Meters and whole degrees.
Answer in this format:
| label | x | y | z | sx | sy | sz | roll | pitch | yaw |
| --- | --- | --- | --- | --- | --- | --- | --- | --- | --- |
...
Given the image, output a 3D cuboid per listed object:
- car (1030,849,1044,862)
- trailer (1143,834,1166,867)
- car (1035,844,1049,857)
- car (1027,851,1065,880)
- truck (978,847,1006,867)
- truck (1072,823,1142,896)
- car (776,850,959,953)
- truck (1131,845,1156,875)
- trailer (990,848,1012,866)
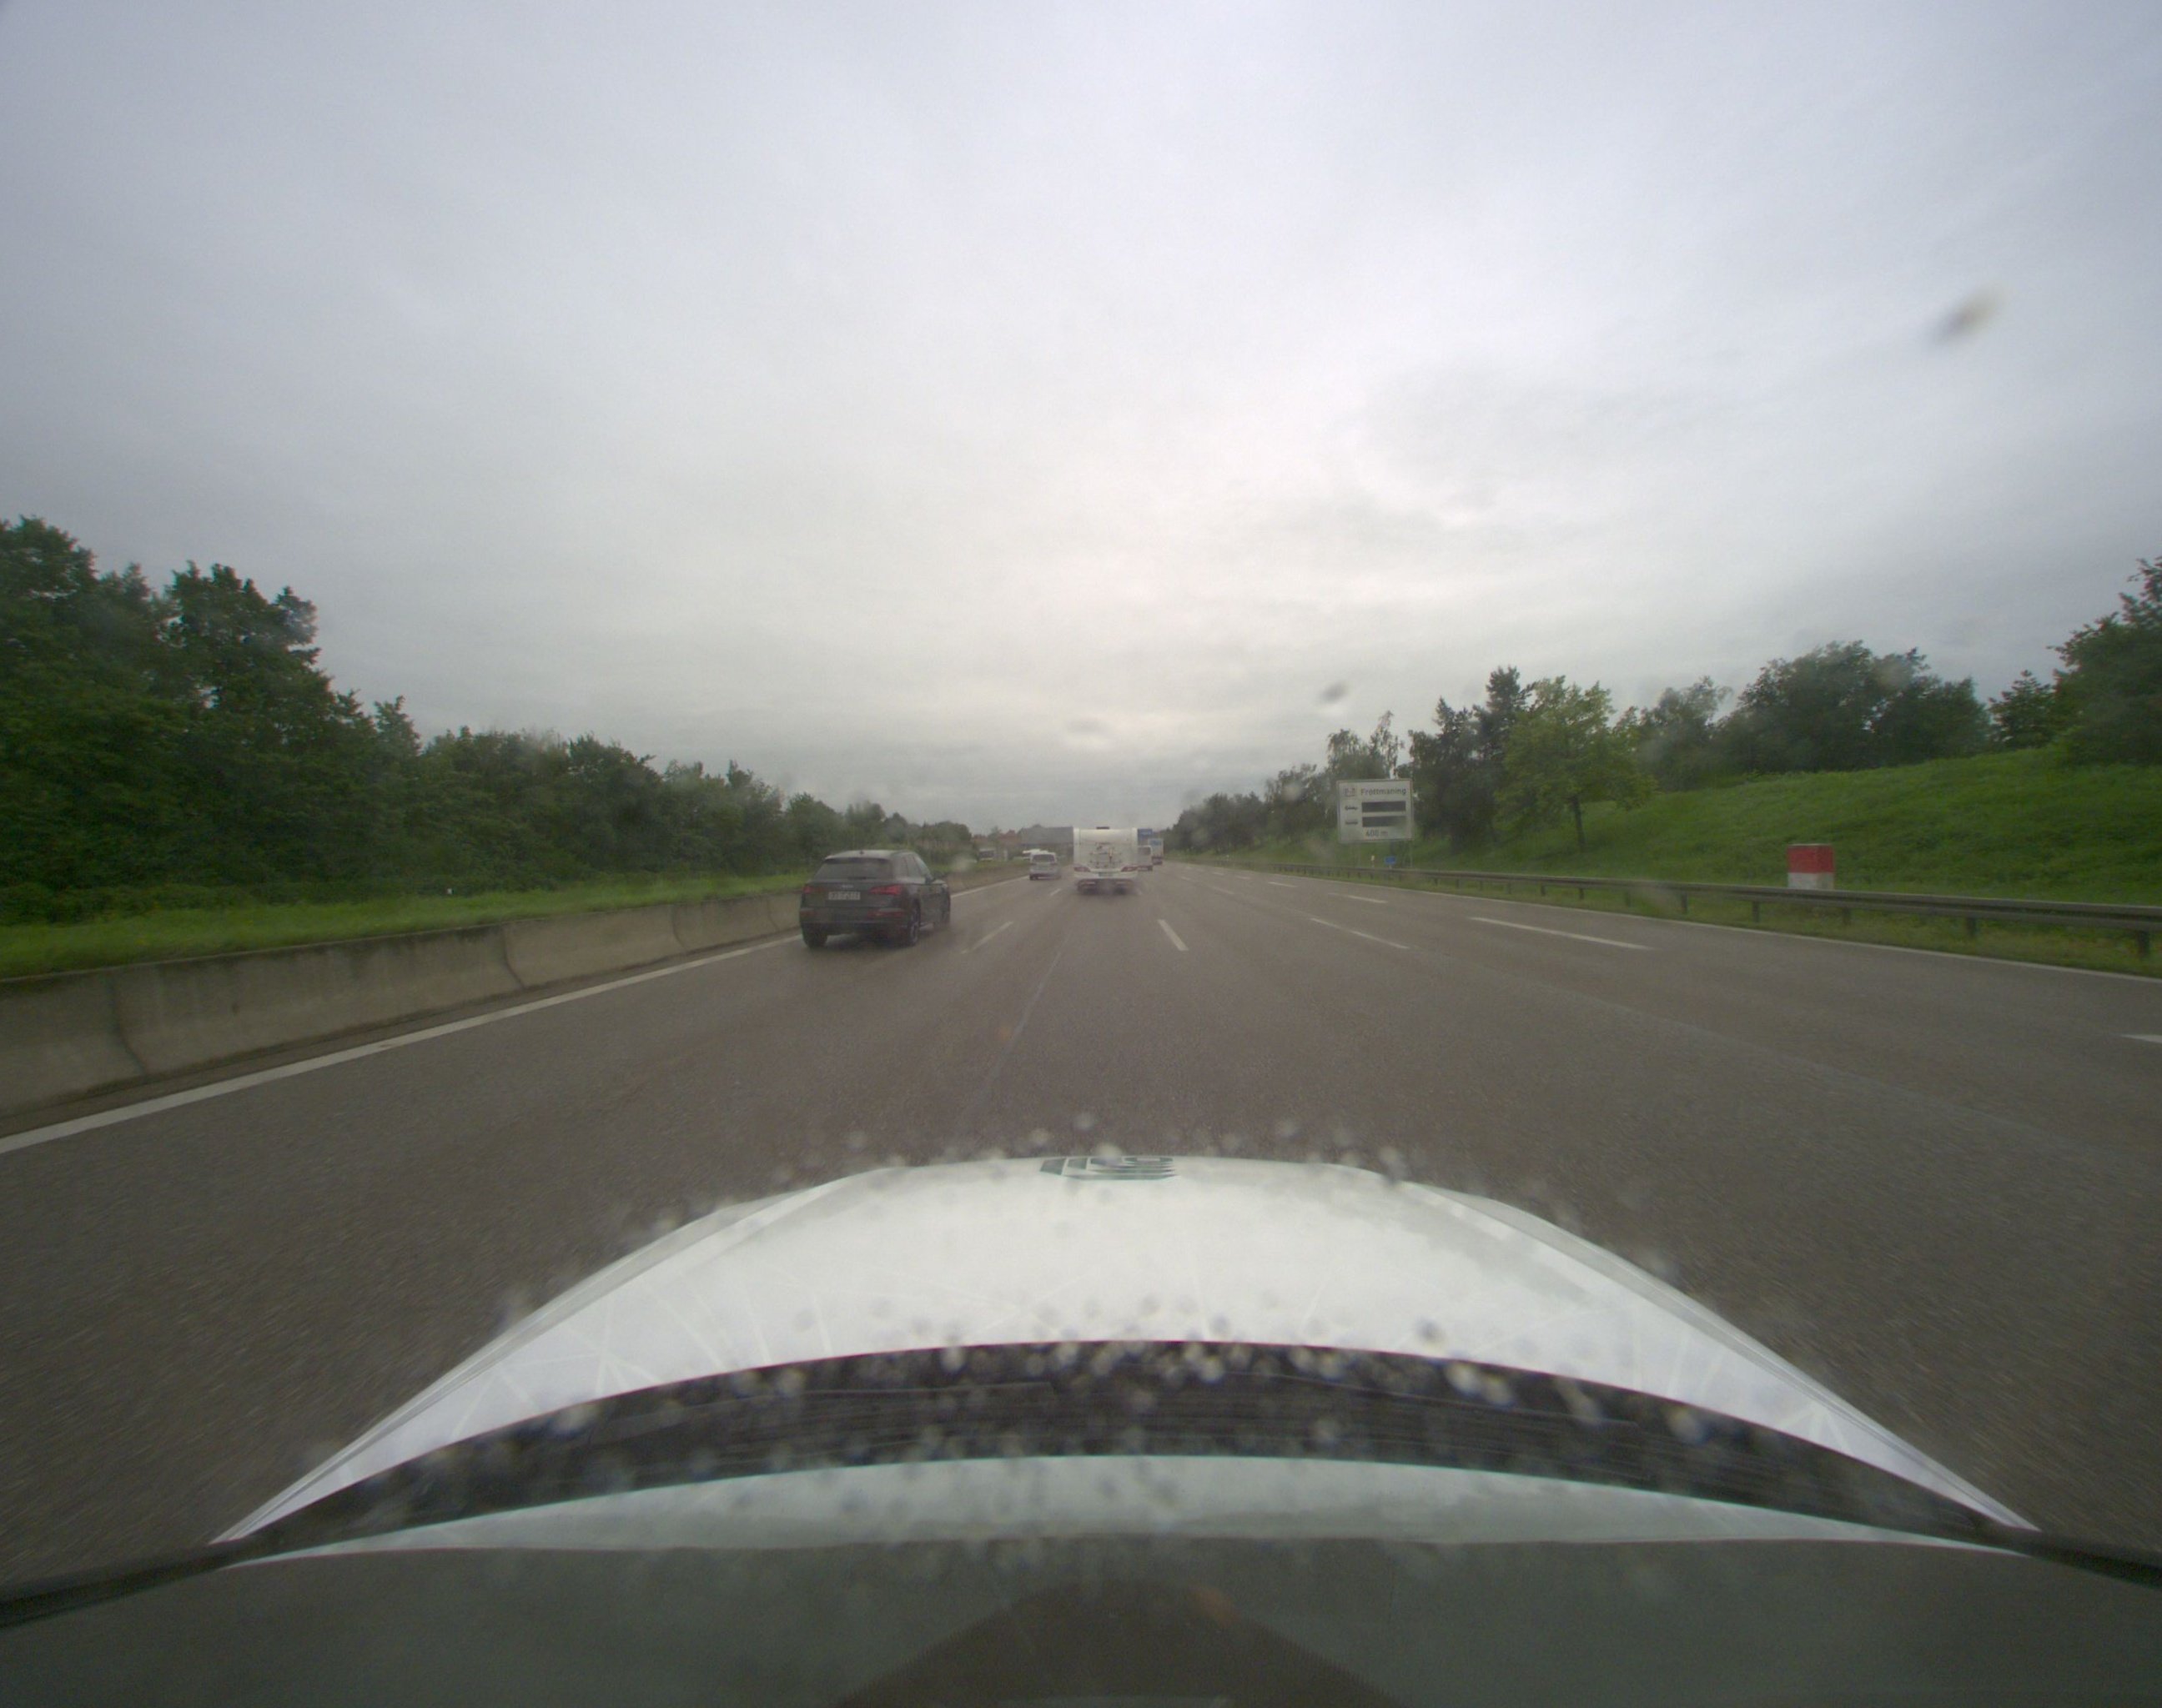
| label | x | y | z | sx | sy | sz | roll | pitch | yaw |
| --- | --- | --- | --- | --- | --- | --- | --- | --- | --- |
| car | -9.489 | 0.396 | 177.676 | 2.312 | 2.734 | 7.320 | 0 | 0 | 3 |
| trailer | 11.521 | -0.503 | 127.900 | 3.087 | 4.922 | 11.798 | 0 | -1 | 3 |
| car | -7.384 | -0.643 | 154.731 | 2.051 | 2.385 | 7.326 | 0 | 0 | 2 |
| car | -2.194 | 0.710 | 51.707 | 2.120 | 1.706 | 4.114 | -1 | 0 | 1 |
| truck | -14.801 | 0.537 | 136.267 | 2.872 | 3.221 | 11.366 | 0 | 0 | 3 |
| truck | 1.041 | 0.225 | 33.287 | 2.651 | 2.742 | 5.079 | 0 | -1 | 1 |
| car | -3.747 | 0.769 | 15.376 | 1.986 | 1.600 | 5.125 | 0 | 0 | 1 |
| truck | 5.990 | 0.550 | 78.402 | 2.046 | 2.770 | 5.550 | 0 | -1 | 1 |
| trailer | -14.252 | 0.610 | 145.914 | 2.766 | 3.077 | 7.877 | 0 | -1 | 3 |
